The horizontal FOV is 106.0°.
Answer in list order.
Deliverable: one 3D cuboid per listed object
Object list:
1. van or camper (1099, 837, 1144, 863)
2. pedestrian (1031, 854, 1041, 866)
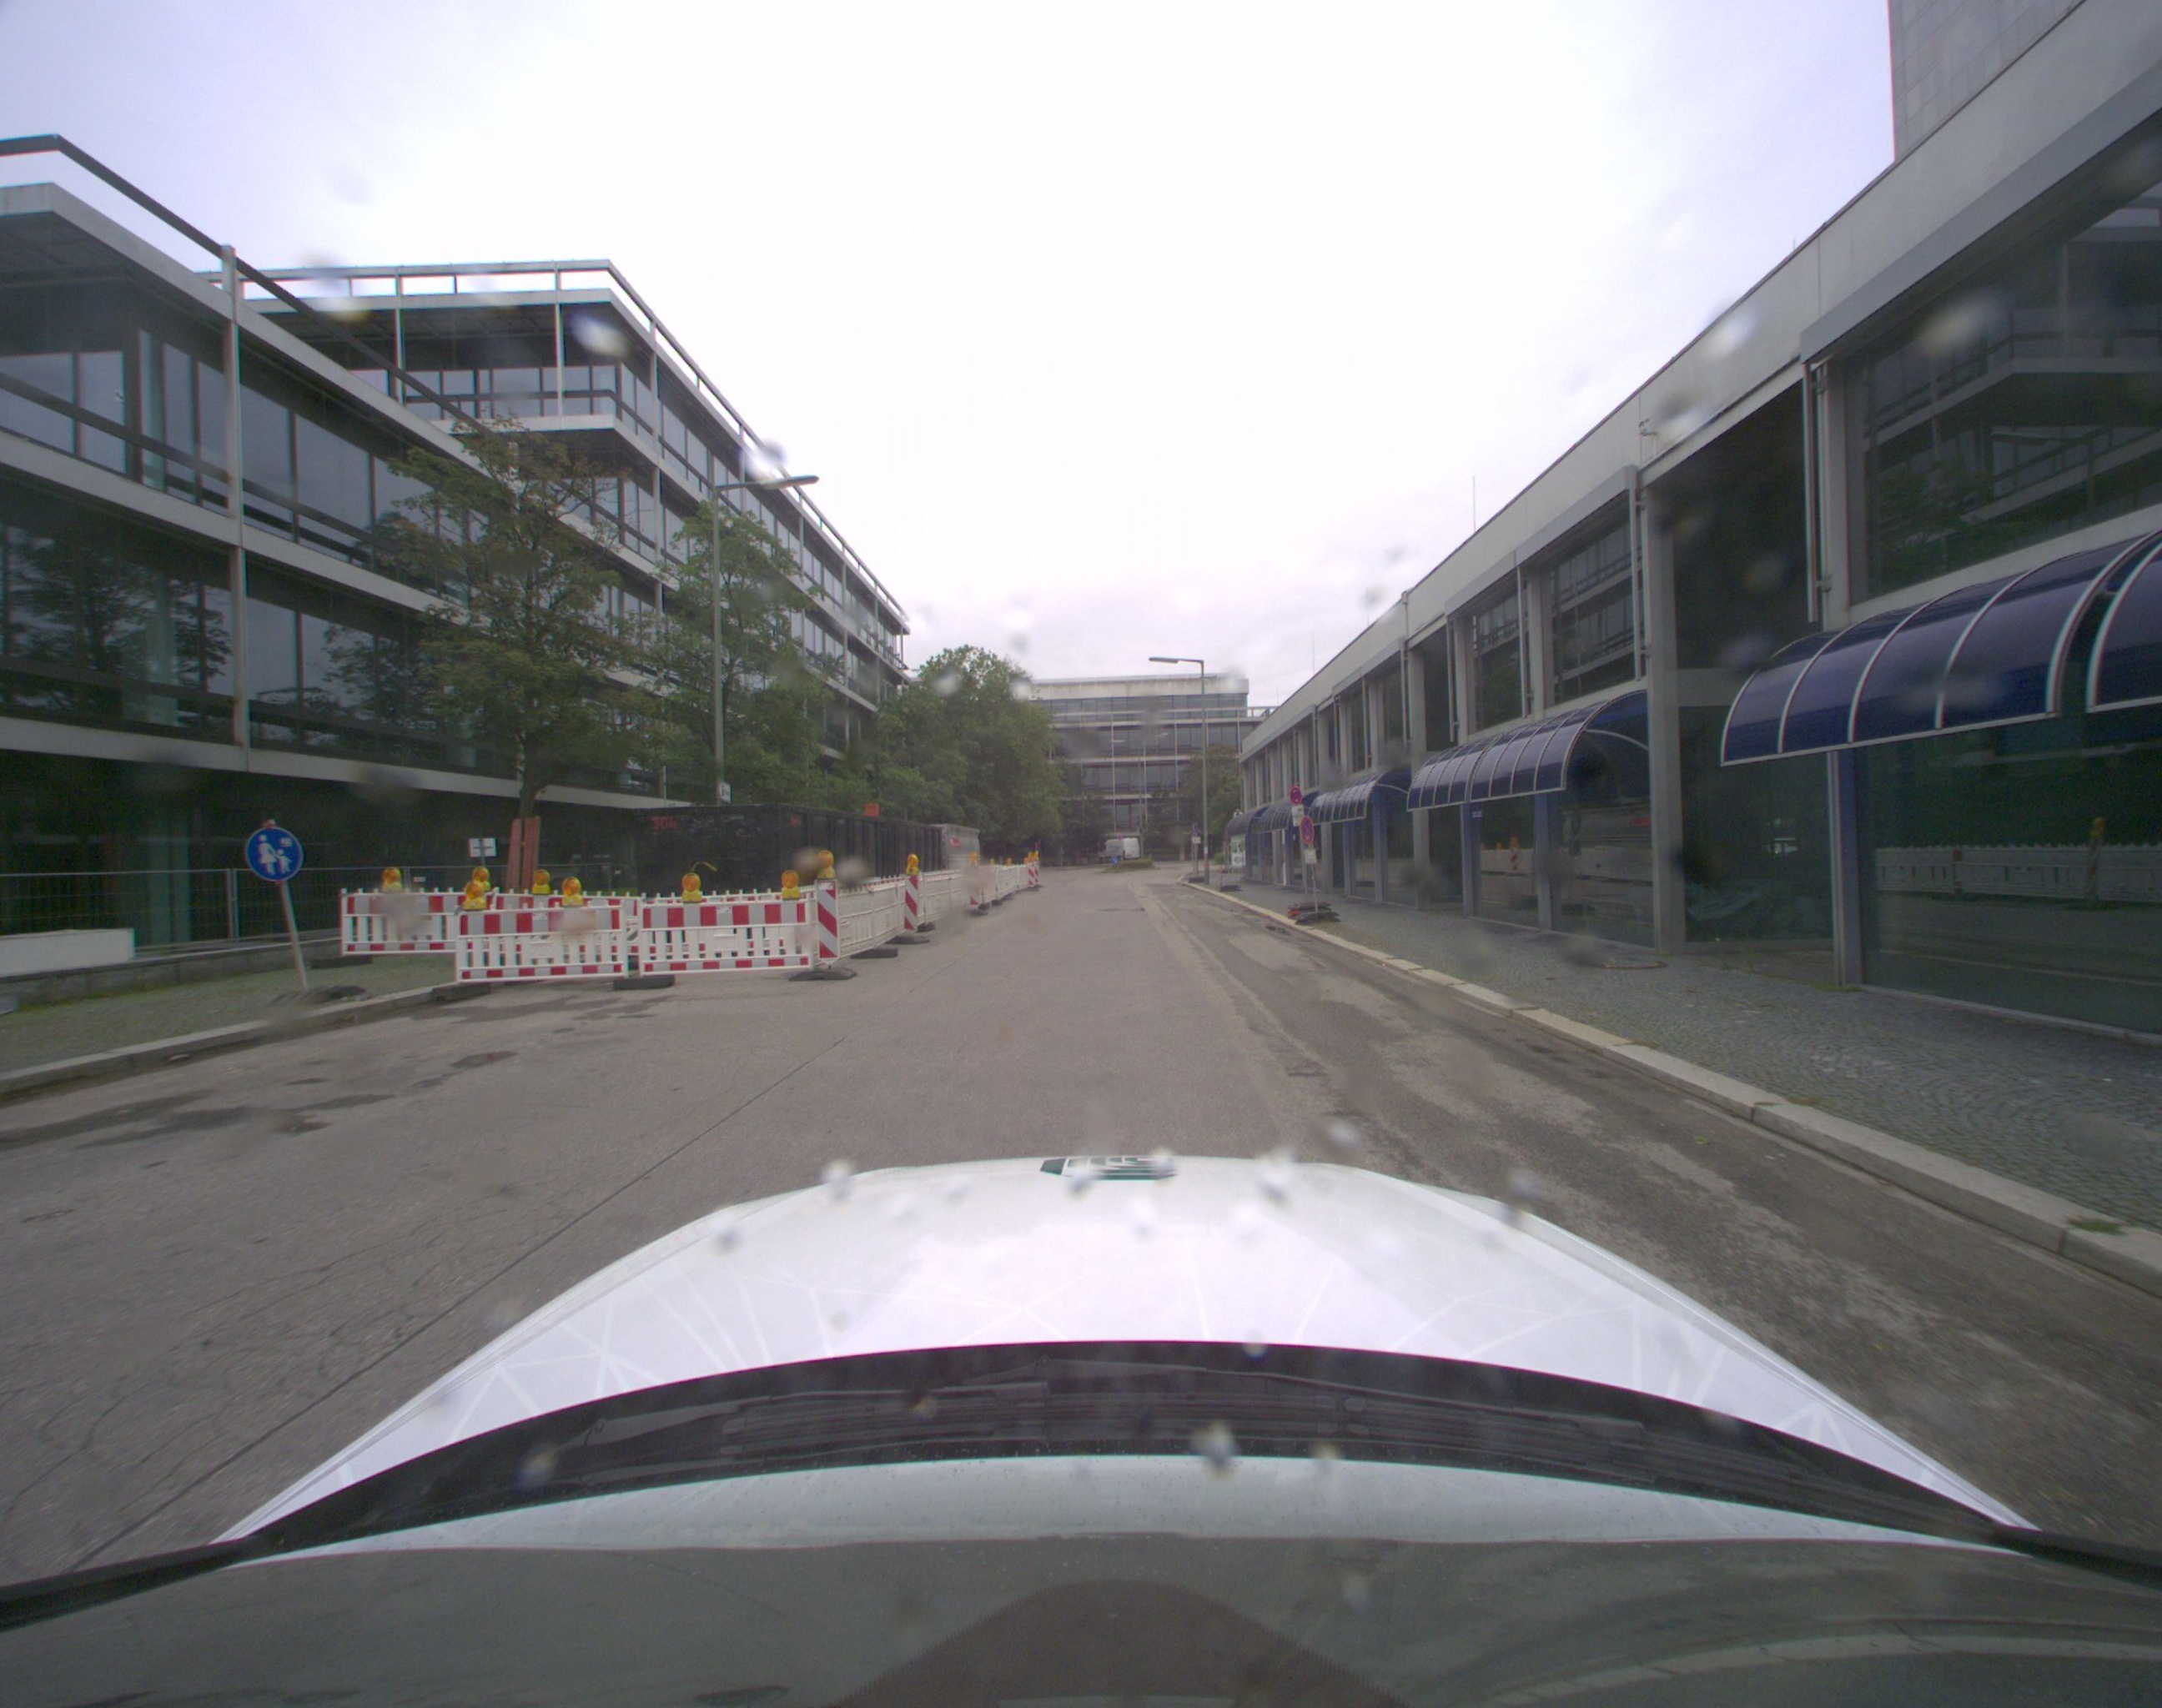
[{"bbox_3d":[4.340,-0.419,88.666,2.165,2.580,6.487,-1,-1,-23],"label":"van or camper"},{"bbox_3d":[-4.775,0.630,86.779,0.922,1.278,0.542,-1,0,4],"label":"pedestrian"}]
